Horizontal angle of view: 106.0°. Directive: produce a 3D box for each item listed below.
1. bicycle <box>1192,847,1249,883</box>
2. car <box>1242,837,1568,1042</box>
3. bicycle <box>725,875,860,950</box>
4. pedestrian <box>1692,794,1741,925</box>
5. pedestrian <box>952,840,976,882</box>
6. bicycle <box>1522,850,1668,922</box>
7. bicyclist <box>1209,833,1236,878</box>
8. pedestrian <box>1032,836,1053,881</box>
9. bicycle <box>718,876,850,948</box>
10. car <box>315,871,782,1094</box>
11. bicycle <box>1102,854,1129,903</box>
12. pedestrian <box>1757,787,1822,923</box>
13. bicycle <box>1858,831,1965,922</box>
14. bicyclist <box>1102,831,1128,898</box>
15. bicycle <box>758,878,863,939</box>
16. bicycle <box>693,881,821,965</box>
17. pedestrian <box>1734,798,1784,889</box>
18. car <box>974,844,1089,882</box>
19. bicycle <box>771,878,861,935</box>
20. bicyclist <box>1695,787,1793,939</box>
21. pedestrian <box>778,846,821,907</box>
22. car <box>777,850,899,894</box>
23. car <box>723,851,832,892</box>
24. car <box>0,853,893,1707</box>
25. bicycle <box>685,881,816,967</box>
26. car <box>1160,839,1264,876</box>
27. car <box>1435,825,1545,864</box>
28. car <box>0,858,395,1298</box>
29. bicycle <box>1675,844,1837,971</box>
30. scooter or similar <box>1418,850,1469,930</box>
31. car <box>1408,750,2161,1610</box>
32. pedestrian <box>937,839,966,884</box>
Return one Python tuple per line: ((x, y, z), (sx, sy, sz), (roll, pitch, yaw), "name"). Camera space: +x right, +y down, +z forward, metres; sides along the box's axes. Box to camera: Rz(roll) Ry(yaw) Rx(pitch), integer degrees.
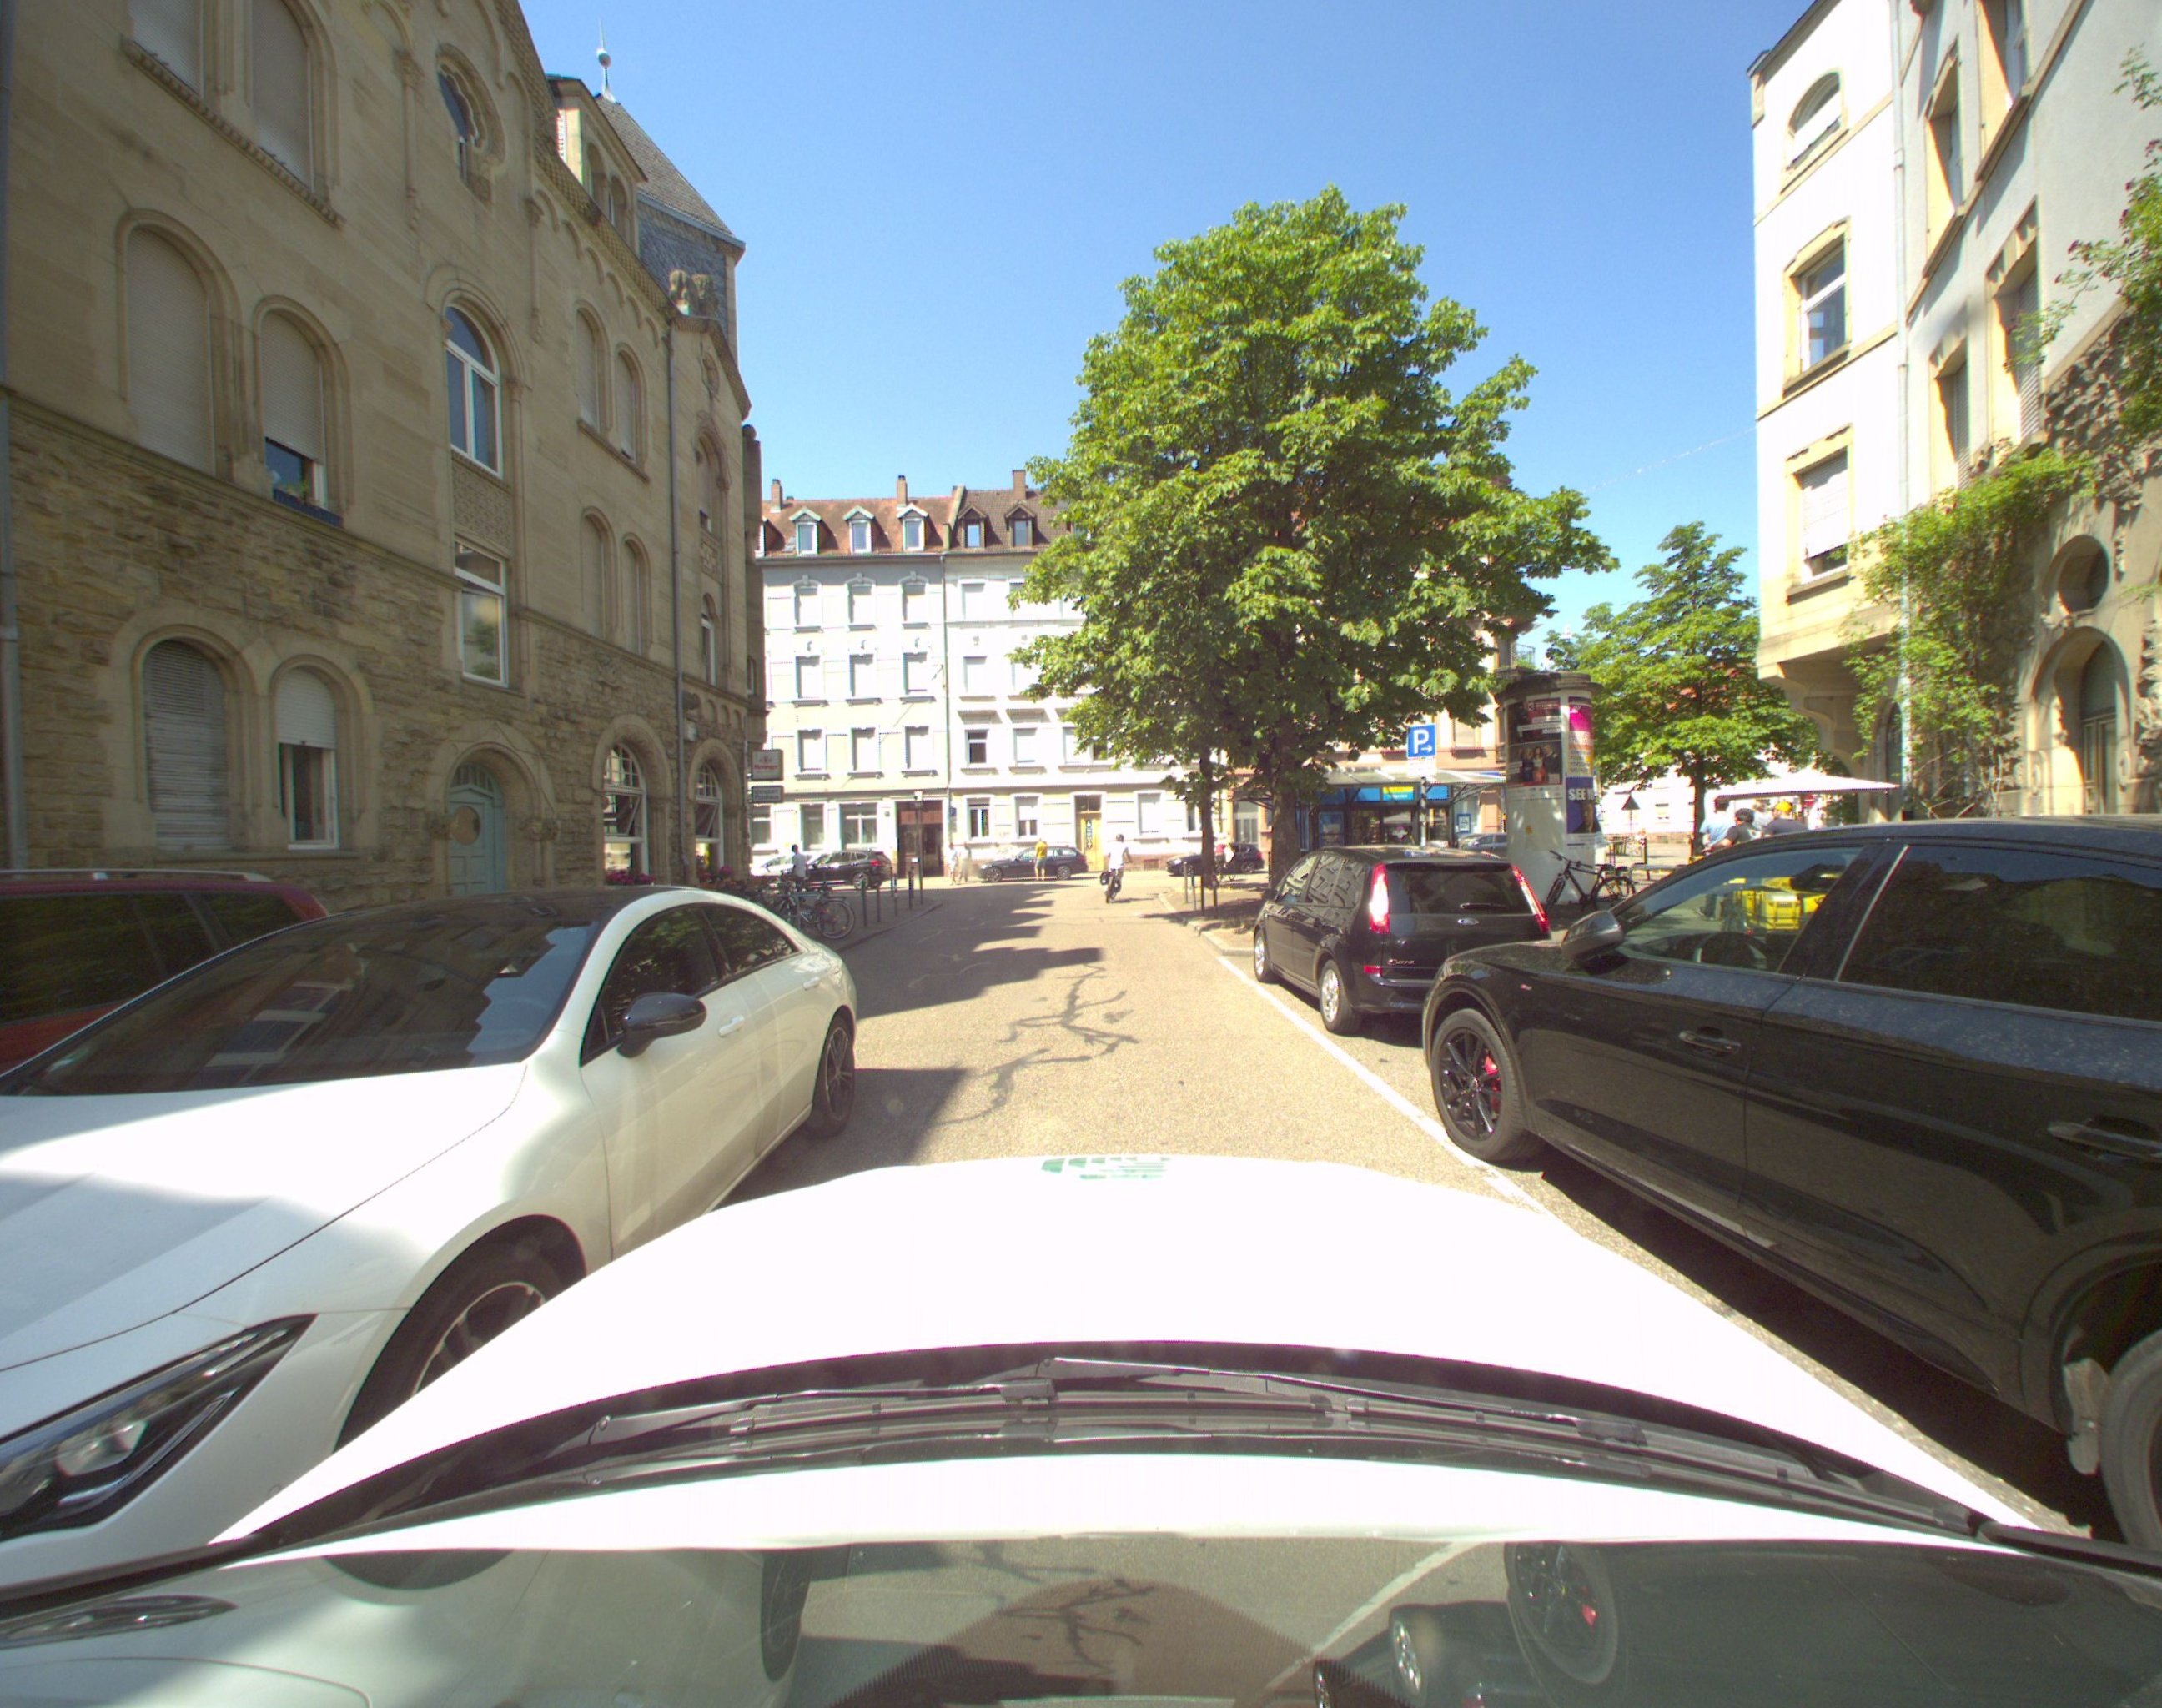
((4.964, 0.356, 28.820), (2.455, 1.209, 0.646), (-1, 1, -44), "bicycle")
((2.846, 0.618, 8.203), (1.657, 1.540, 4.178), (0, 1, 0), "car")
((-4.597, 0.931, 13.036), (1.968, 1.129, 0.394), (1, 0, -4), "bicycle")
((9.356, 0.071, 11.989), (0.513, 1.868, 0.658), (-2, 0, 39), "pedestrian")
((-5.180, 0.302, 36.021), (0.899, 1.814, 0.959), (-2, 0, -5), "pedestrian")
((8.153, 0.496, 12.964), (1.893, 1.039, 0.634), (-3, 0, 0), "bicycle")
((5.023, 0.050, 28.908), (0.613, 1.533, 0.664), (-3, 0, -44), "bicyclist")
((-1.621, 0.201, 34.426), (0.724, 1.853, 0.683), (-2, 0, -10), "pedestrian")
((-4.895, 0.946, 13.467), (1.991, 1.129, 0.435), (-1, 0, -4), "bicycle")
((-4.645, 0.964, 8.108), (1.697, 1.352, 4.512), (-4, 0, -2), "car")
((0.919, 0.639, 22.208), (0.649, 1.228, 2.442), (0, 0, 1), "bicycle")
((10.279, 0.009, 11.814), (0.888, 1.880, 0.594), (-2, 0, -44), "pedestrian")
((10.541, 0.254, 10.396), (0.542, 1.039, 1.849), (-2, 0, 33), "bicycle")
((0.907, 0.279, 21.870), (0.668, 1.760, 0.609), (0, 0, 1), "bicyclist")
((-4.763, 0.958, 14.405), (1.701, 1.045, 0.413), (0, 0, -4), "bicycle")
((-4.878, 1.028, 12.301), (1.699, 1.100, 0.292), (-5, 0, -4), "bicycle")
((13.609, -0.214, 16.353), (0.753, 1.793, 0.576), (-3, 0, -38), "pedestrian")
((-2.102, 0.377, 35.719), (4.844, 1.437, 2.000), (-3, 0, 0), "car")
((-4.820, 0.949, 14.851), (1.522, 1.008, 0.366), (0, 0, -4), "bicycle")
((7.516, 0.105, 9.266), (0.671, 1.647, 0.665), (-2, 0, 24), "bicyclist")
((-7.973, 0.613, 23.100), (0.854, 1.672, 0.774), (-2, 0, 0), "pedestrian")
((-9.562, 0.676, 32.321), (4.210, 1.519, 1.807), (-3, 0, 0), "car")
((-13.318, 0.738, 35.885), (4.035, 1.562, 1.806), (-3, 0, -2), "car")
((-2.198, 0.808, 3.090), (1.835, 1.460, 4.362), (-4, 0, 0), "car")
((-4.852, 1.024, 11.990), (1.699, 1.100, 0.292), (-5, 0, -4), "bicycle")
((5.724, 0.126, 35.933), (4.280, 1.370, 1.807), (-2, 3, 0), "car")
((18.093, -0.427, 36.127), (3.975, 1.505, 1.778), (-3, 0, -1), "car")
((-4.811, 0.889, 2.646), (1.668, 1.582, 4.051), (-4, 0, -1), "car")
((7.391, 0.506, 9.077), (0.786, 1.169, 2.594), (-2, 0, 27), "bicycle")
((5.621, 0.532, 12.605), (0.437, 1.136, 1.193), (-2, 0, 37), "scooter or similar")
((2.844, 0.594, 2.645), (1.731, 1.596, 4.345), (0, 1, -2), "car")
((-5.515, 0.306, 34.686), (0.844, 1.889, 0.938), (-2, 0, 11), "pedestrian")
